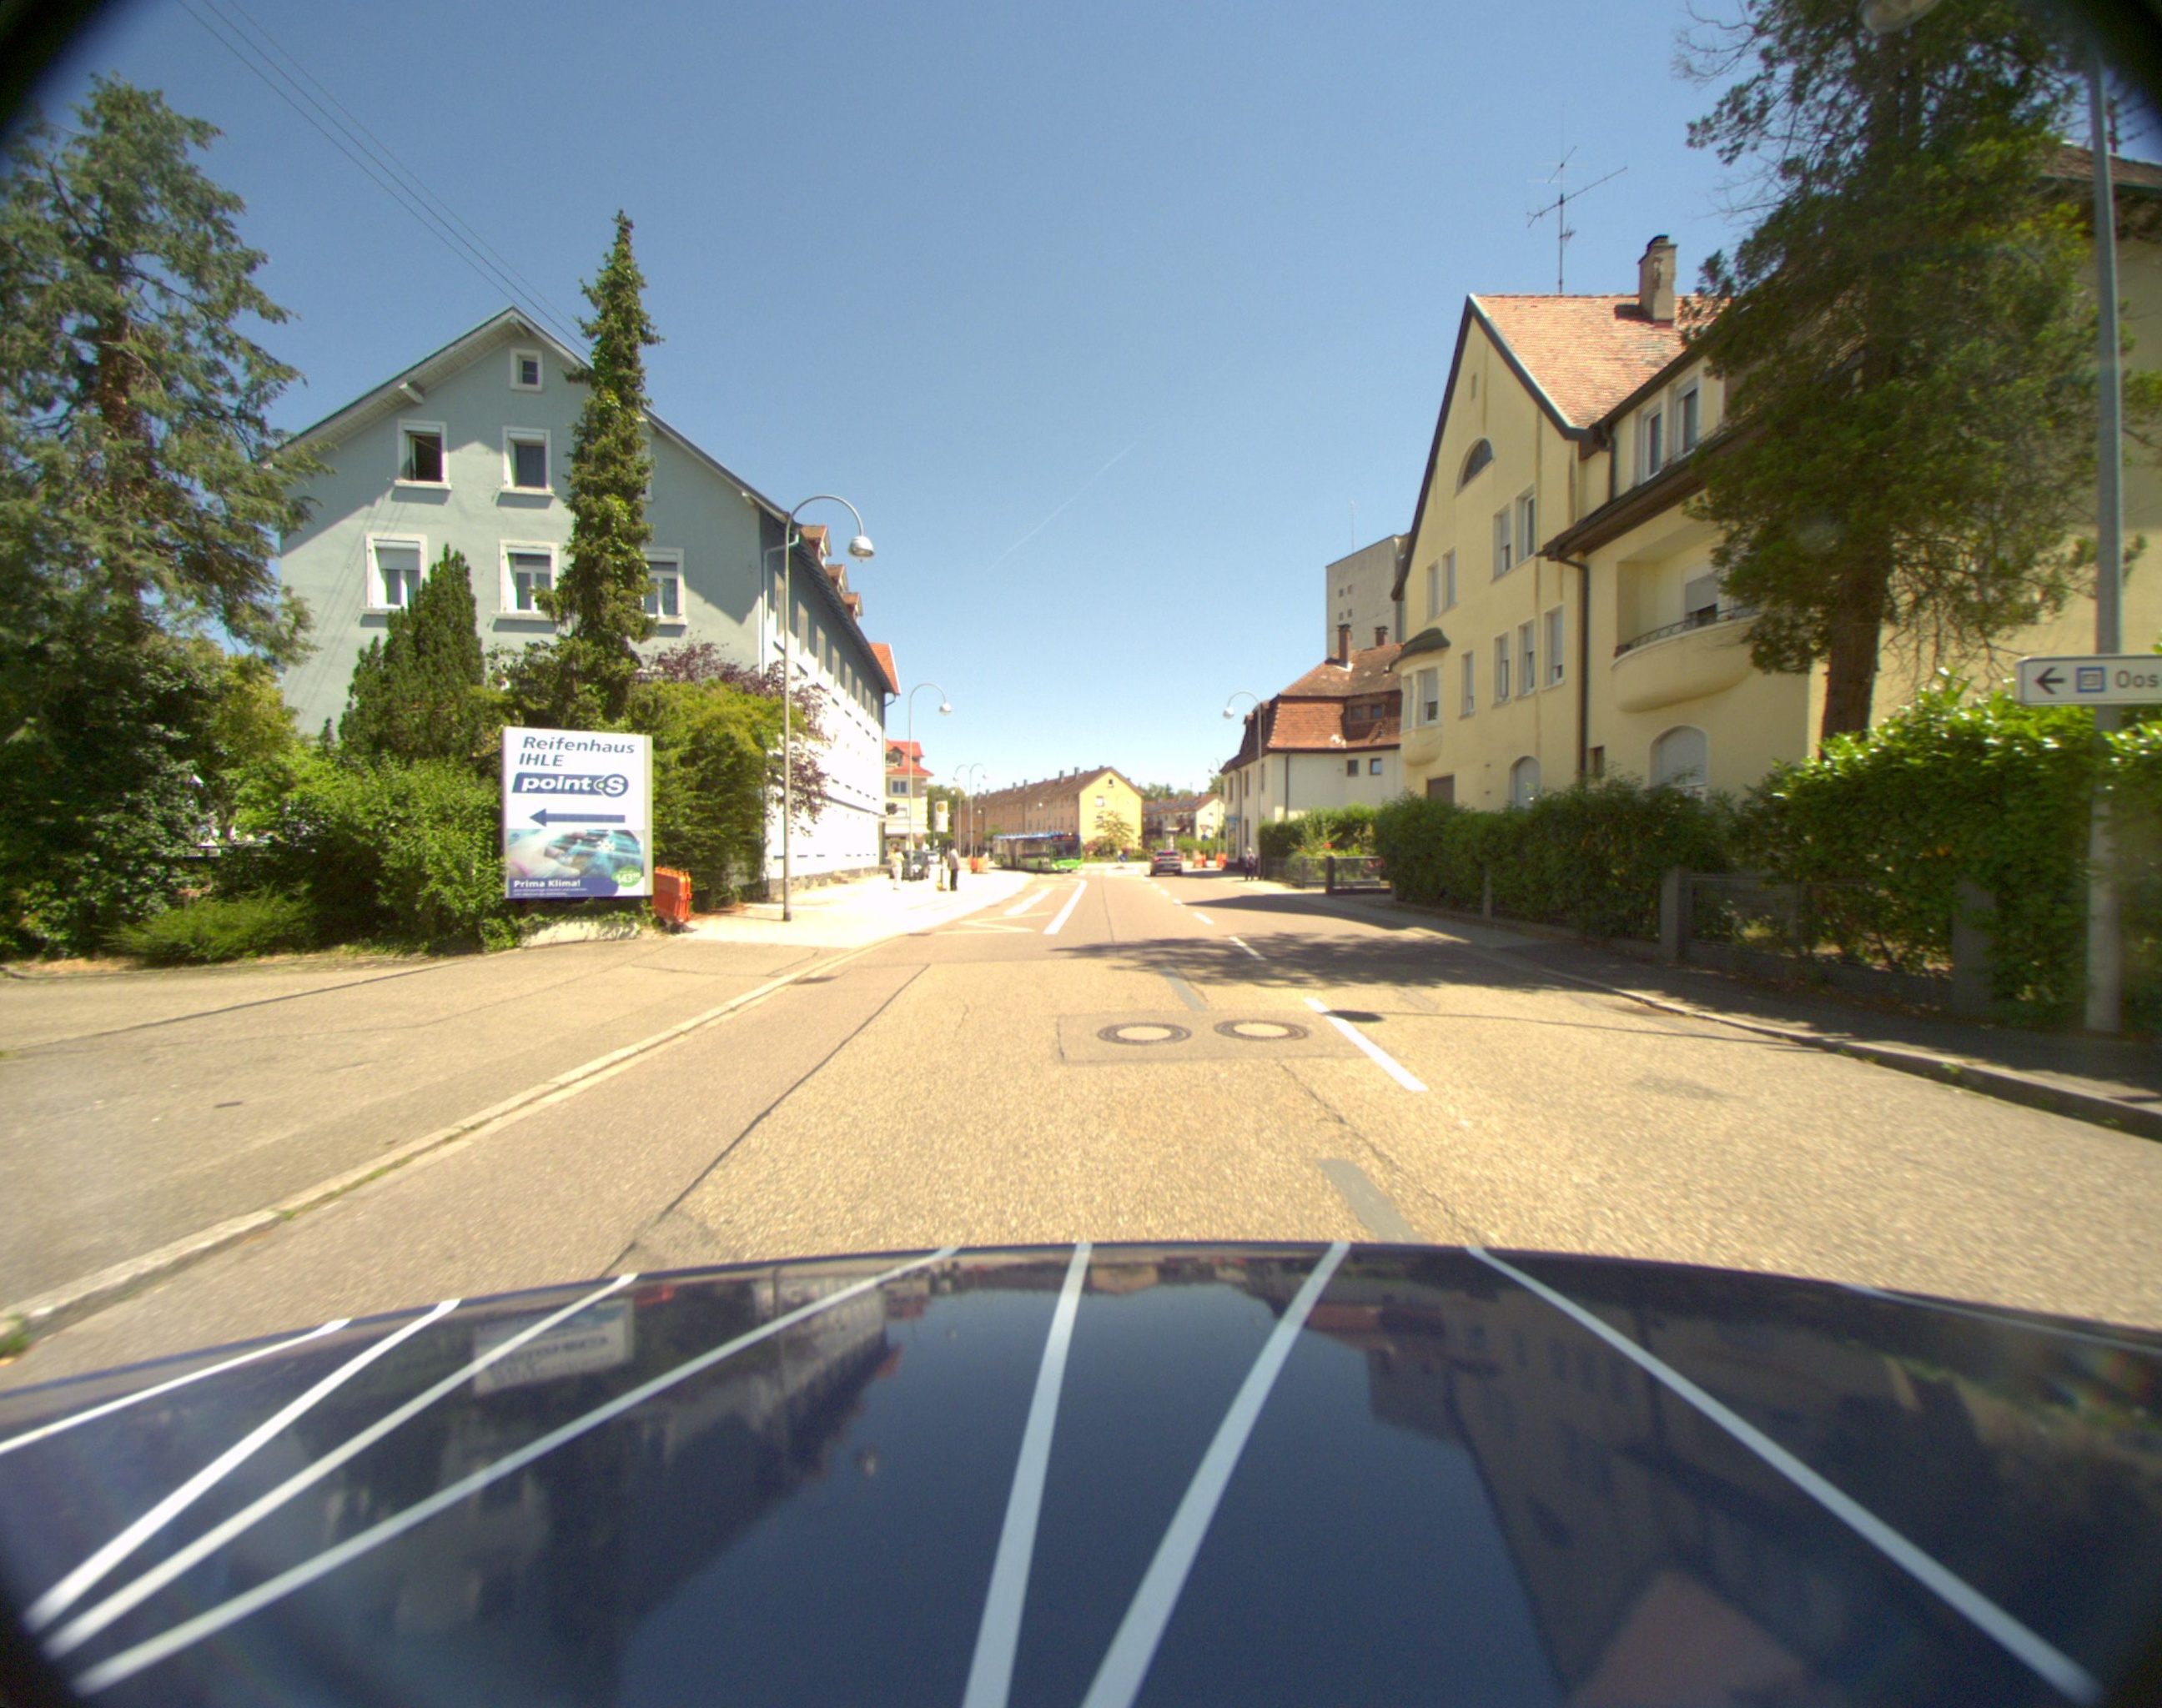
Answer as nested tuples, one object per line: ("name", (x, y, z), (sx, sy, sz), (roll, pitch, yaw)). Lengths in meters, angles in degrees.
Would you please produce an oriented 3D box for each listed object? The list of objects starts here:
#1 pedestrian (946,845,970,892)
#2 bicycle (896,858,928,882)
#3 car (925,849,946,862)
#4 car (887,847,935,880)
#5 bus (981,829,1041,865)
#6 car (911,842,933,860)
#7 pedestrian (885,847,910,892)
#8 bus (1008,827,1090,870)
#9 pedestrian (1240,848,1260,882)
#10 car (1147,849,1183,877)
("pedestrian", (-4.857, 0.564, 29.914), (0.751, 1.795, 0.614), (3, 1, -19))
("bicycle", (-7.803, 0.737, 35.174), (0.632, 1.033, 1.886), (3, 1, 15))
("car", (-16.802, 0.156, 87.808), (1.829, 1.403, 3.992), (2, 1, -19))
("car", (-8.663, 0.443, 39.071), (1.763, 1.505, 3.739), (3, 0, -4))
("bus", (-6.950, -0.564, 73.025), (2.933, 3.044, 12.543), (-2, 0, -18))
("car", (-22.909, -0.422, 109.398), (2.344, 2.442, 5.724), (2, 0, -19))
("pedestrian", (-6.822, 0.571, 28.299), (0.614, 1.606, 0.751), (2, 1, 12))
("bus", (-2.881, -0.386, 61.187), (2.915, 3.062, 12.541), (-2, 0, -20))
("pedestrian", (7.974, 0.511, 35.862), (0.614, 1.555, 0.824), (-5, 1, 0))
("car", (5.187, 0.498, 47.319), (1.858, 1.607, 4.296), (-1, 1, 2))
